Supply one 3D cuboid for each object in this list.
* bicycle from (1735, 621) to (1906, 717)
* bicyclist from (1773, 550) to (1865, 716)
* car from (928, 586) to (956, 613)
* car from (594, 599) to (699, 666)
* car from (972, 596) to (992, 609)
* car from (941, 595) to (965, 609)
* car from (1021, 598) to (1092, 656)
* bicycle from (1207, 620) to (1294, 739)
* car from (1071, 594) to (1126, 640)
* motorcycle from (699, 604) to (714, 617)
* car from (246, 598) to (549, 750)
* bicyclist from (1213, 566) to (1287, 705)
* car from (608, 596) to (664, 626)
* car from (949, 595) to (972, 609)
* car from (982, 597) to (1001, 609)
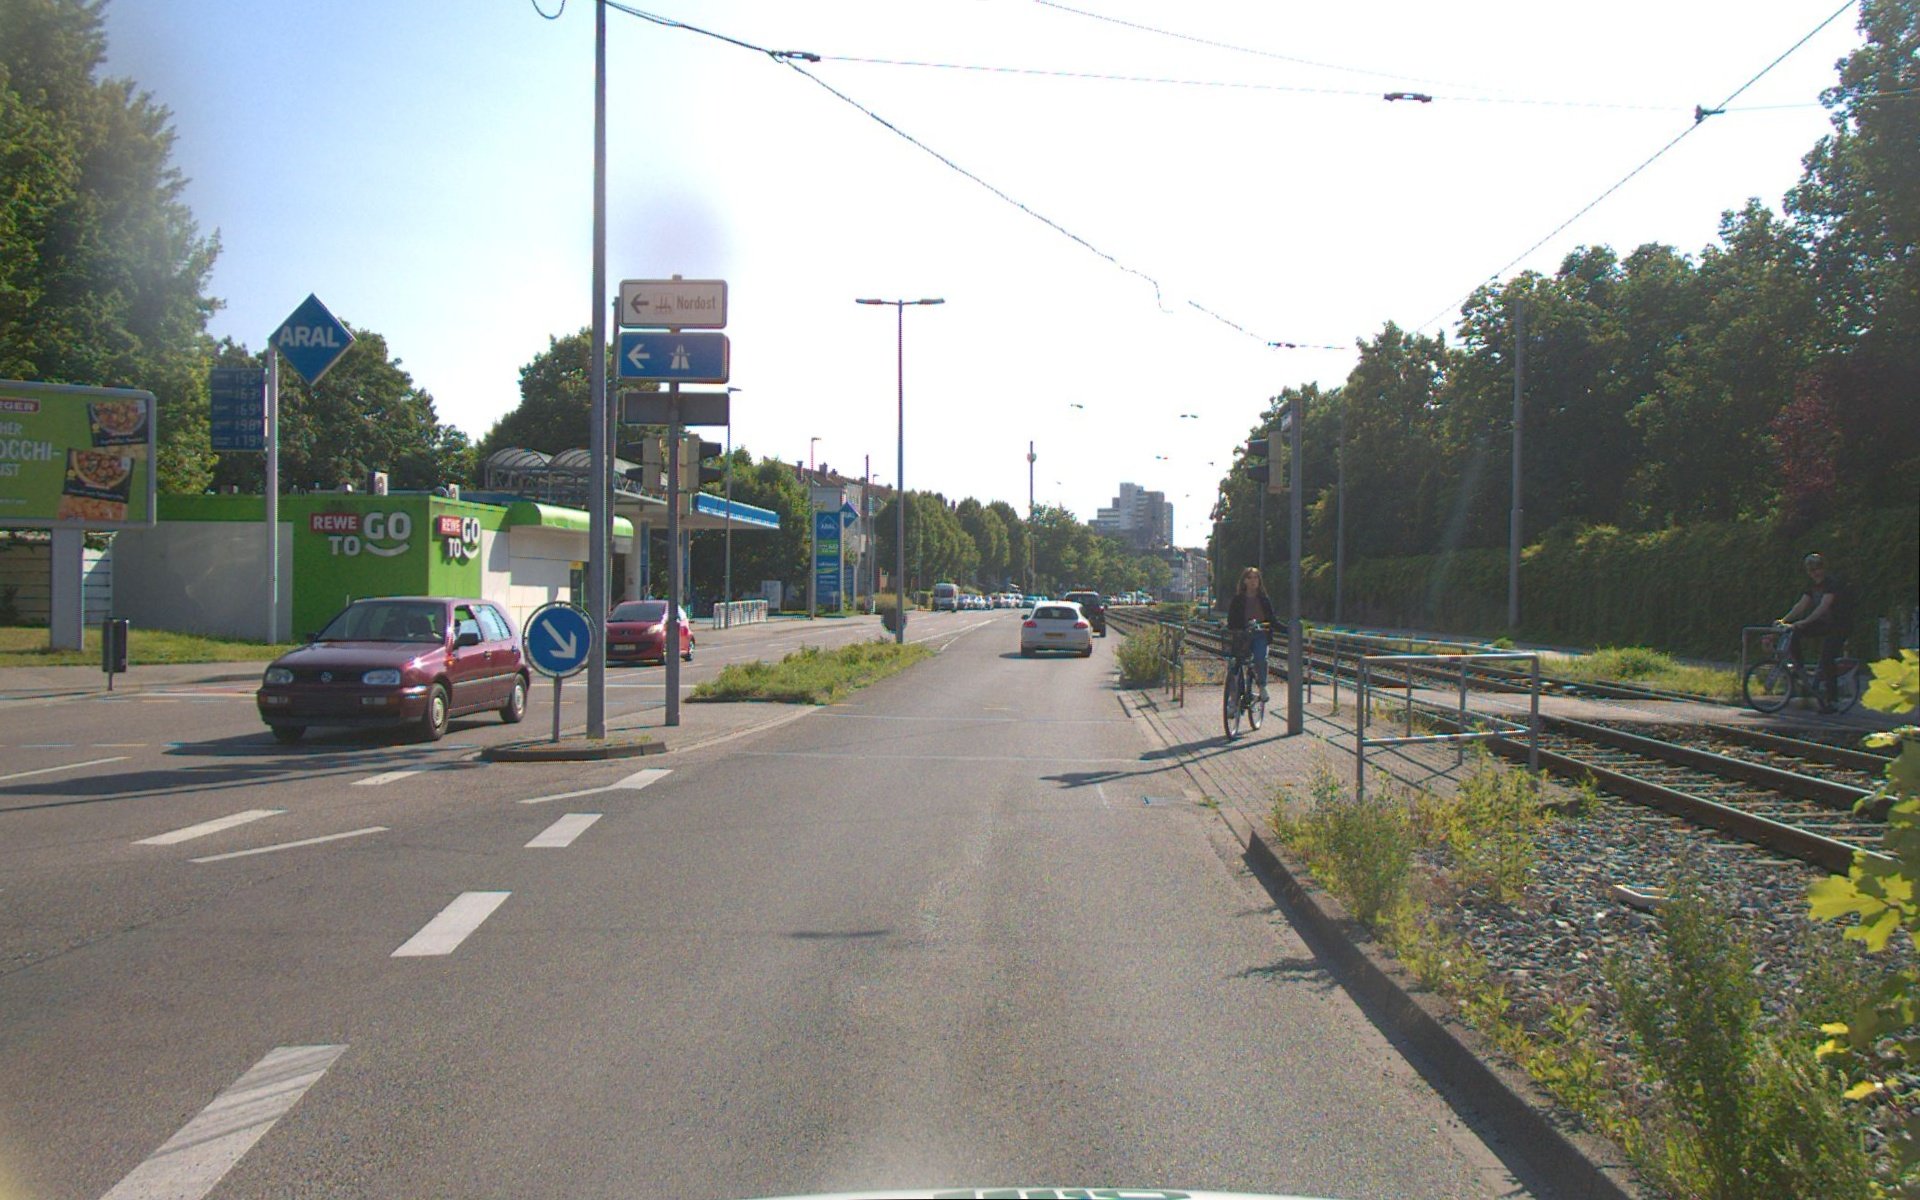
[{"bbox_3d":[10.871,0.845,20.955,1.884,1.134,0.946,0,0,28],"label":"bicycle"},{"bbox_3d":[10.875,0.400,20.950,1.013,2.028,0.946,0,0,27],"label":"bicyclist"},{"bbox_3d":[-1.549,-0.040,147.676,1.951,2.418,4.542,0,0,7],"label":"car"},{"bbox_3d":[-7.058,0.701,37.508,1.541,1.441,3.335,0,0,4],"label":"car"},{"bbox_3d":[2.521,0.246,185.761,1.951,1.441,3.846,0,0,6],"label":"car"},{"bbox_3d":[-0.660,0.192,163.061,1.951,1.441,3.846,0,0,6],"label":"car"},{"bbox_3d":[2.511,0.664,43.035,1.743,1.380,3.603,2,0,3],"label":"car"},{"bbox_3d":[3.153,0.821,17.832,0.630,1.174,1.937,0,0,19],"label":"bicycle"},{"bbox_3d":[5.150,0.615,62.003,1.689,1.620,3.601,2,0,-1],"label":"car"},{"bbox_3d":[-17.272,0.706,112.907,0.657,0.917,1.672,0,0,4],"label":"motorcycle"},{"bbox_3d":[-5.806,0.692,17.622,1.618,1.420,4.136,0,0,3],"label":"car"},{"bbox_3d":[3.127,0.361,17.764,0.630,1.440,1.013,0,0,19],"label":"bicyclist"},{"bbox_3d":[-15.489,0.509,79.288,1.707,1.418,4.122,0,0,2],"label":"car"},{"bbox_3d":[0.048,0.224,168.968,1.951,1.441,3.846,0,0,6],"label":"car"},{"bbox_3d":[3.782,0.337,197.392,1.951,1.441,3.846,0,0,6],"label":"car"}]
